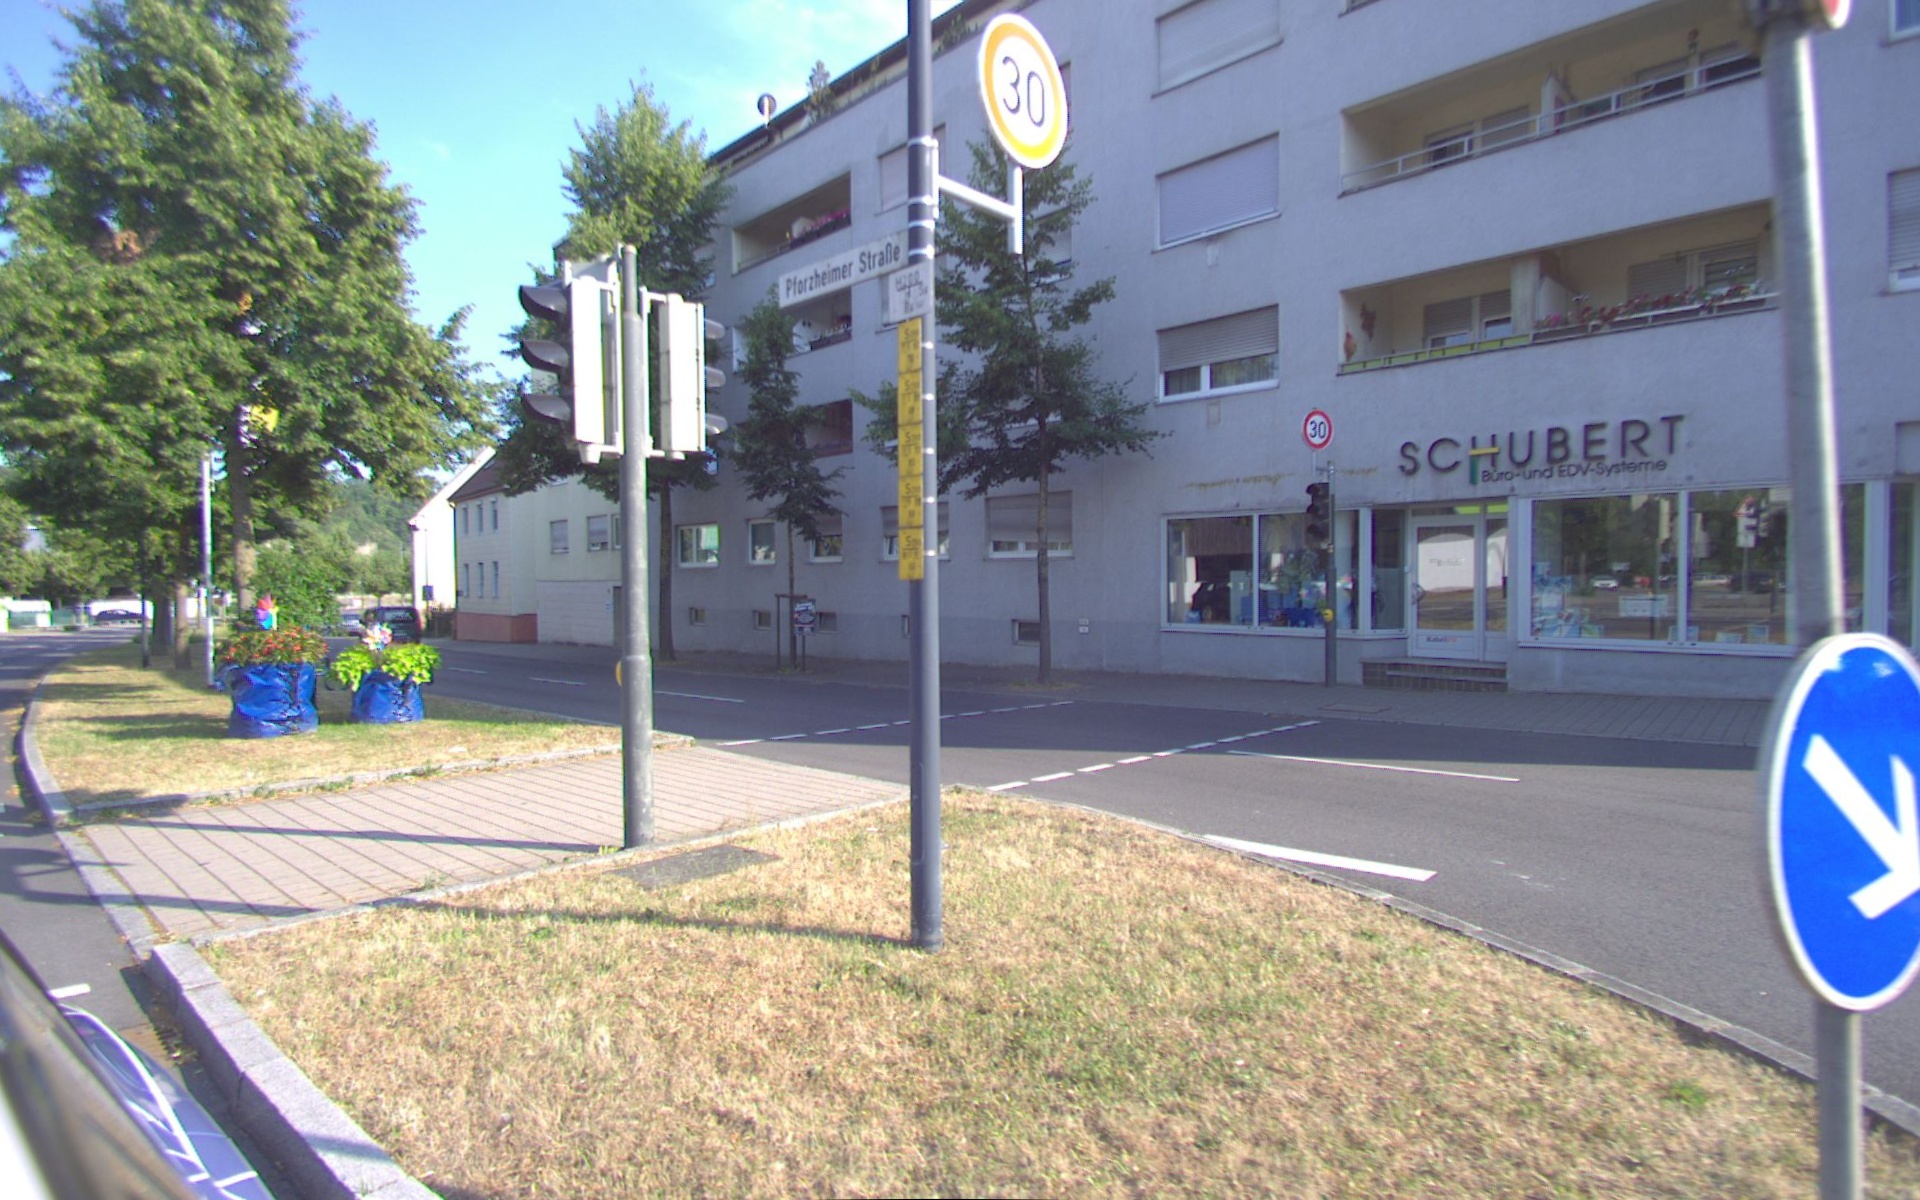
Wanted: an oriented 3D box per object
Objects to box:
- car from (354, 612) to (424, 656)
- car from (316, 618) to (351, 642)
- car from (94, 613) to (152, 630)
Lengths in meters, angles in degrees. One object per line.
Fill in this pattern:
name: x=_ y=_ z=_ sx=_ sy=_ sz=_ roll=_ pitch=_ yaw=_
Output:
car: x=-24.104 y=1.383 z=42.649 sx=1.828 sy=1.750 sz=4.932 roll=1 pitch=-1 yaw=-38
car: x=-40.923 y=1.947 z=66.054 sx=1.827 sy=1.497 sz=5.009 roll=0 pitch=-1 yaw=-33
car: x=-78.910 y=2.031 z=95.442 sx=3.771 sy=1.431 sz=1.944 roll=-1 pitch=0 yaw=-22
